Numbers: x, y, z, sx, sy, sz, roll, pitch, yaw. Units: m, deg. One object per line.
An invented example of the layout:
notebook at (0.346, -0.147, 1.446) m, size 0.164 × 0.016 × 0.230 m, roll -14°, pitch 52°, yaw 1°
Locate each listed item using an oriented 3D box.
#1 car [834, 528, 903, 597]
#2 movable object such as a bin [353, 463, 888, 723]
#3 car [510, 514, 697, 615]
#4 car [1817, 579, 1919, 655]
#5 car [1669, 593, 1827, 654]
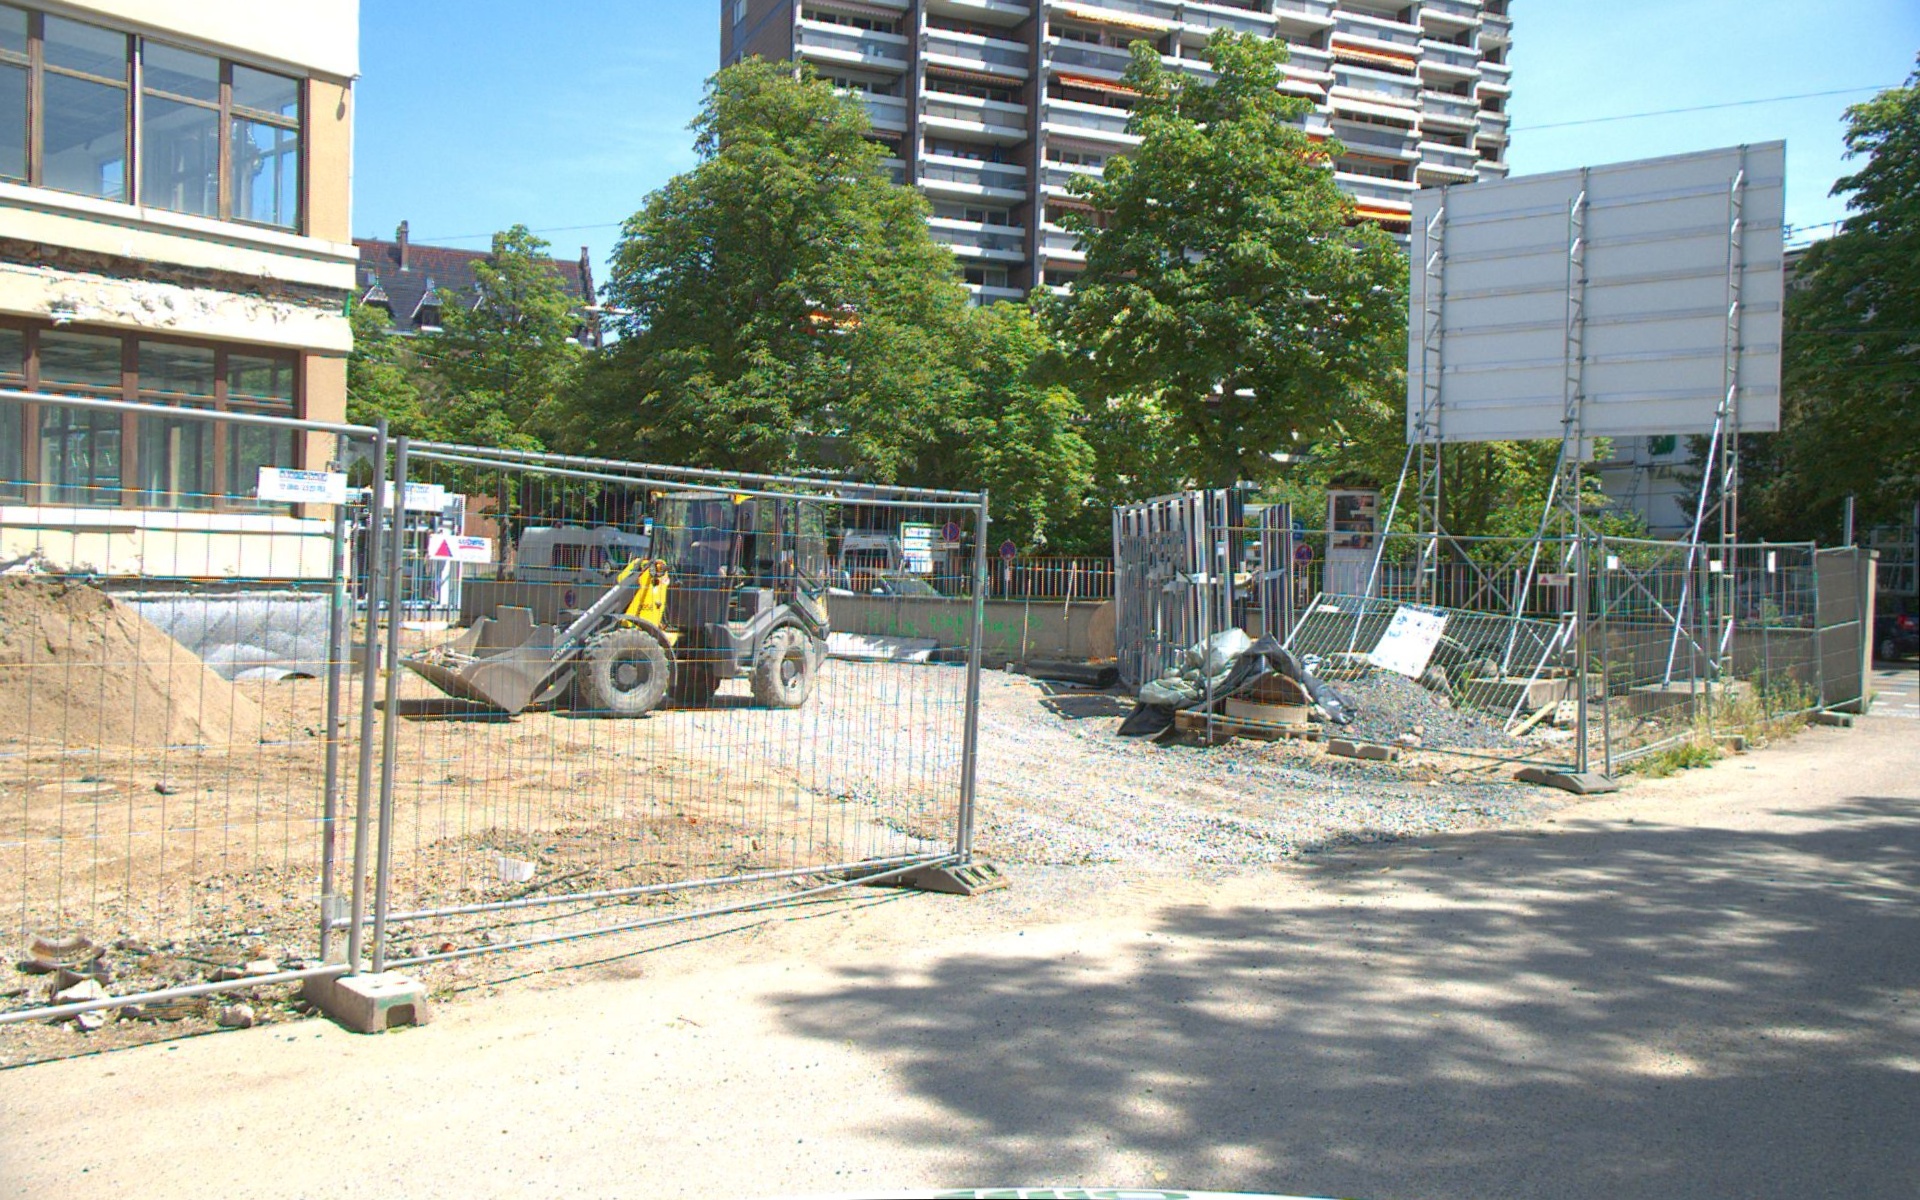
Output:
car at (-3.160, -1.300, 58.004) m, size 2.139 × 2.297 × 4.869 m, roll 1°, pitch 1°, yaw 0°
movable object such as a bin at (-3.690, -0.080, 18.476) m, size 5.361 × 2.507 × 2.338 m, roll 1°, pitch 1°, yaw -36°
car at (-9.251, -0.900, 42.683) m, size 5.145 × 2.458 × 1.990 m, roll 1°, pitch 1°, yaw 40°
car at (21.364, 0.354, 37.802) m, size 1.968 × 1.658 × 3.934 m, roll 1°, pitch 1°, yaw 8°
car at (18.736, 0.530, 39.521) m, size 1.875 × 1.333 × 3.930 m, roll 1°, pitch 1°, yaw 0°
